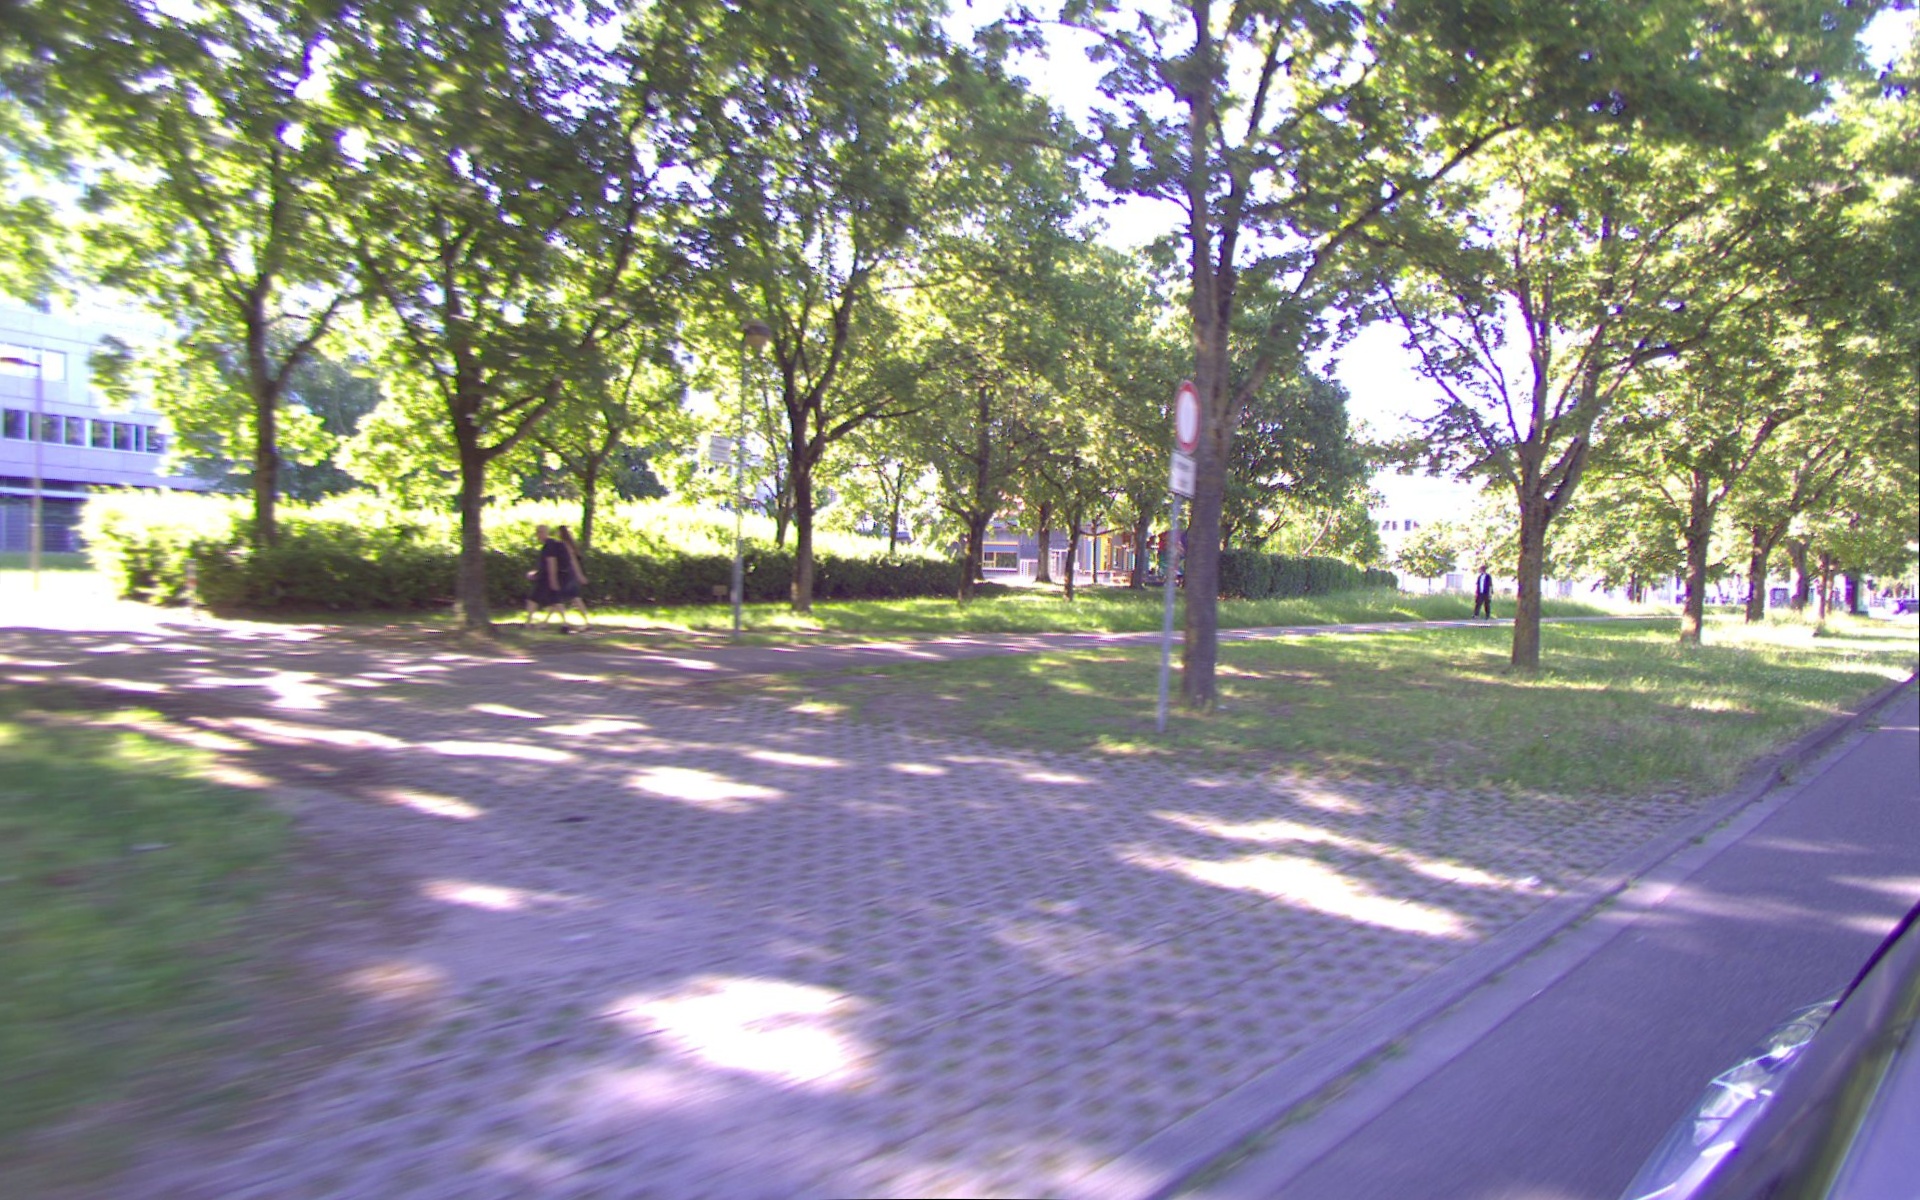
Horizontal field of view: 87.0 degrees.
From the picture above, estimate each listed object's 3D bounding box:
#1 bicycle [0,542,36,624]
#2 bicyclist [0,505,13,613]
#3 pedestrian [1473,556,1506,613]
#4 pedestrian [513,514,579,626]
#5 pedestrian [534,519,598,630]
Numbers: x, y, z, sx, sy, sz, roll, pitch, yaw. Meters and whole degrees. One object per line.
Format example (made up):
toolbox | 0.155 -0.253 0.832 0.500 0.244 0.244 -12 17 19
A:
bicycle | -13.487 -0.263 13.697 2.123 1.060 0.789 2 2 28
bicyclist | -13.508 -0.566 13.704 0.837 1.468 0.784 2 2 27
pedestrian | 17.386 -0.514 33.216 0.781 1.825 0.716 0 1 -44
pedestrian | -6.270 -0.450 15.324 0.827 1.642 0.549 0 2 -32
pedestrian | -6.261 -0.406 16.077 0.827 1.712 0.639 0 2 -32
